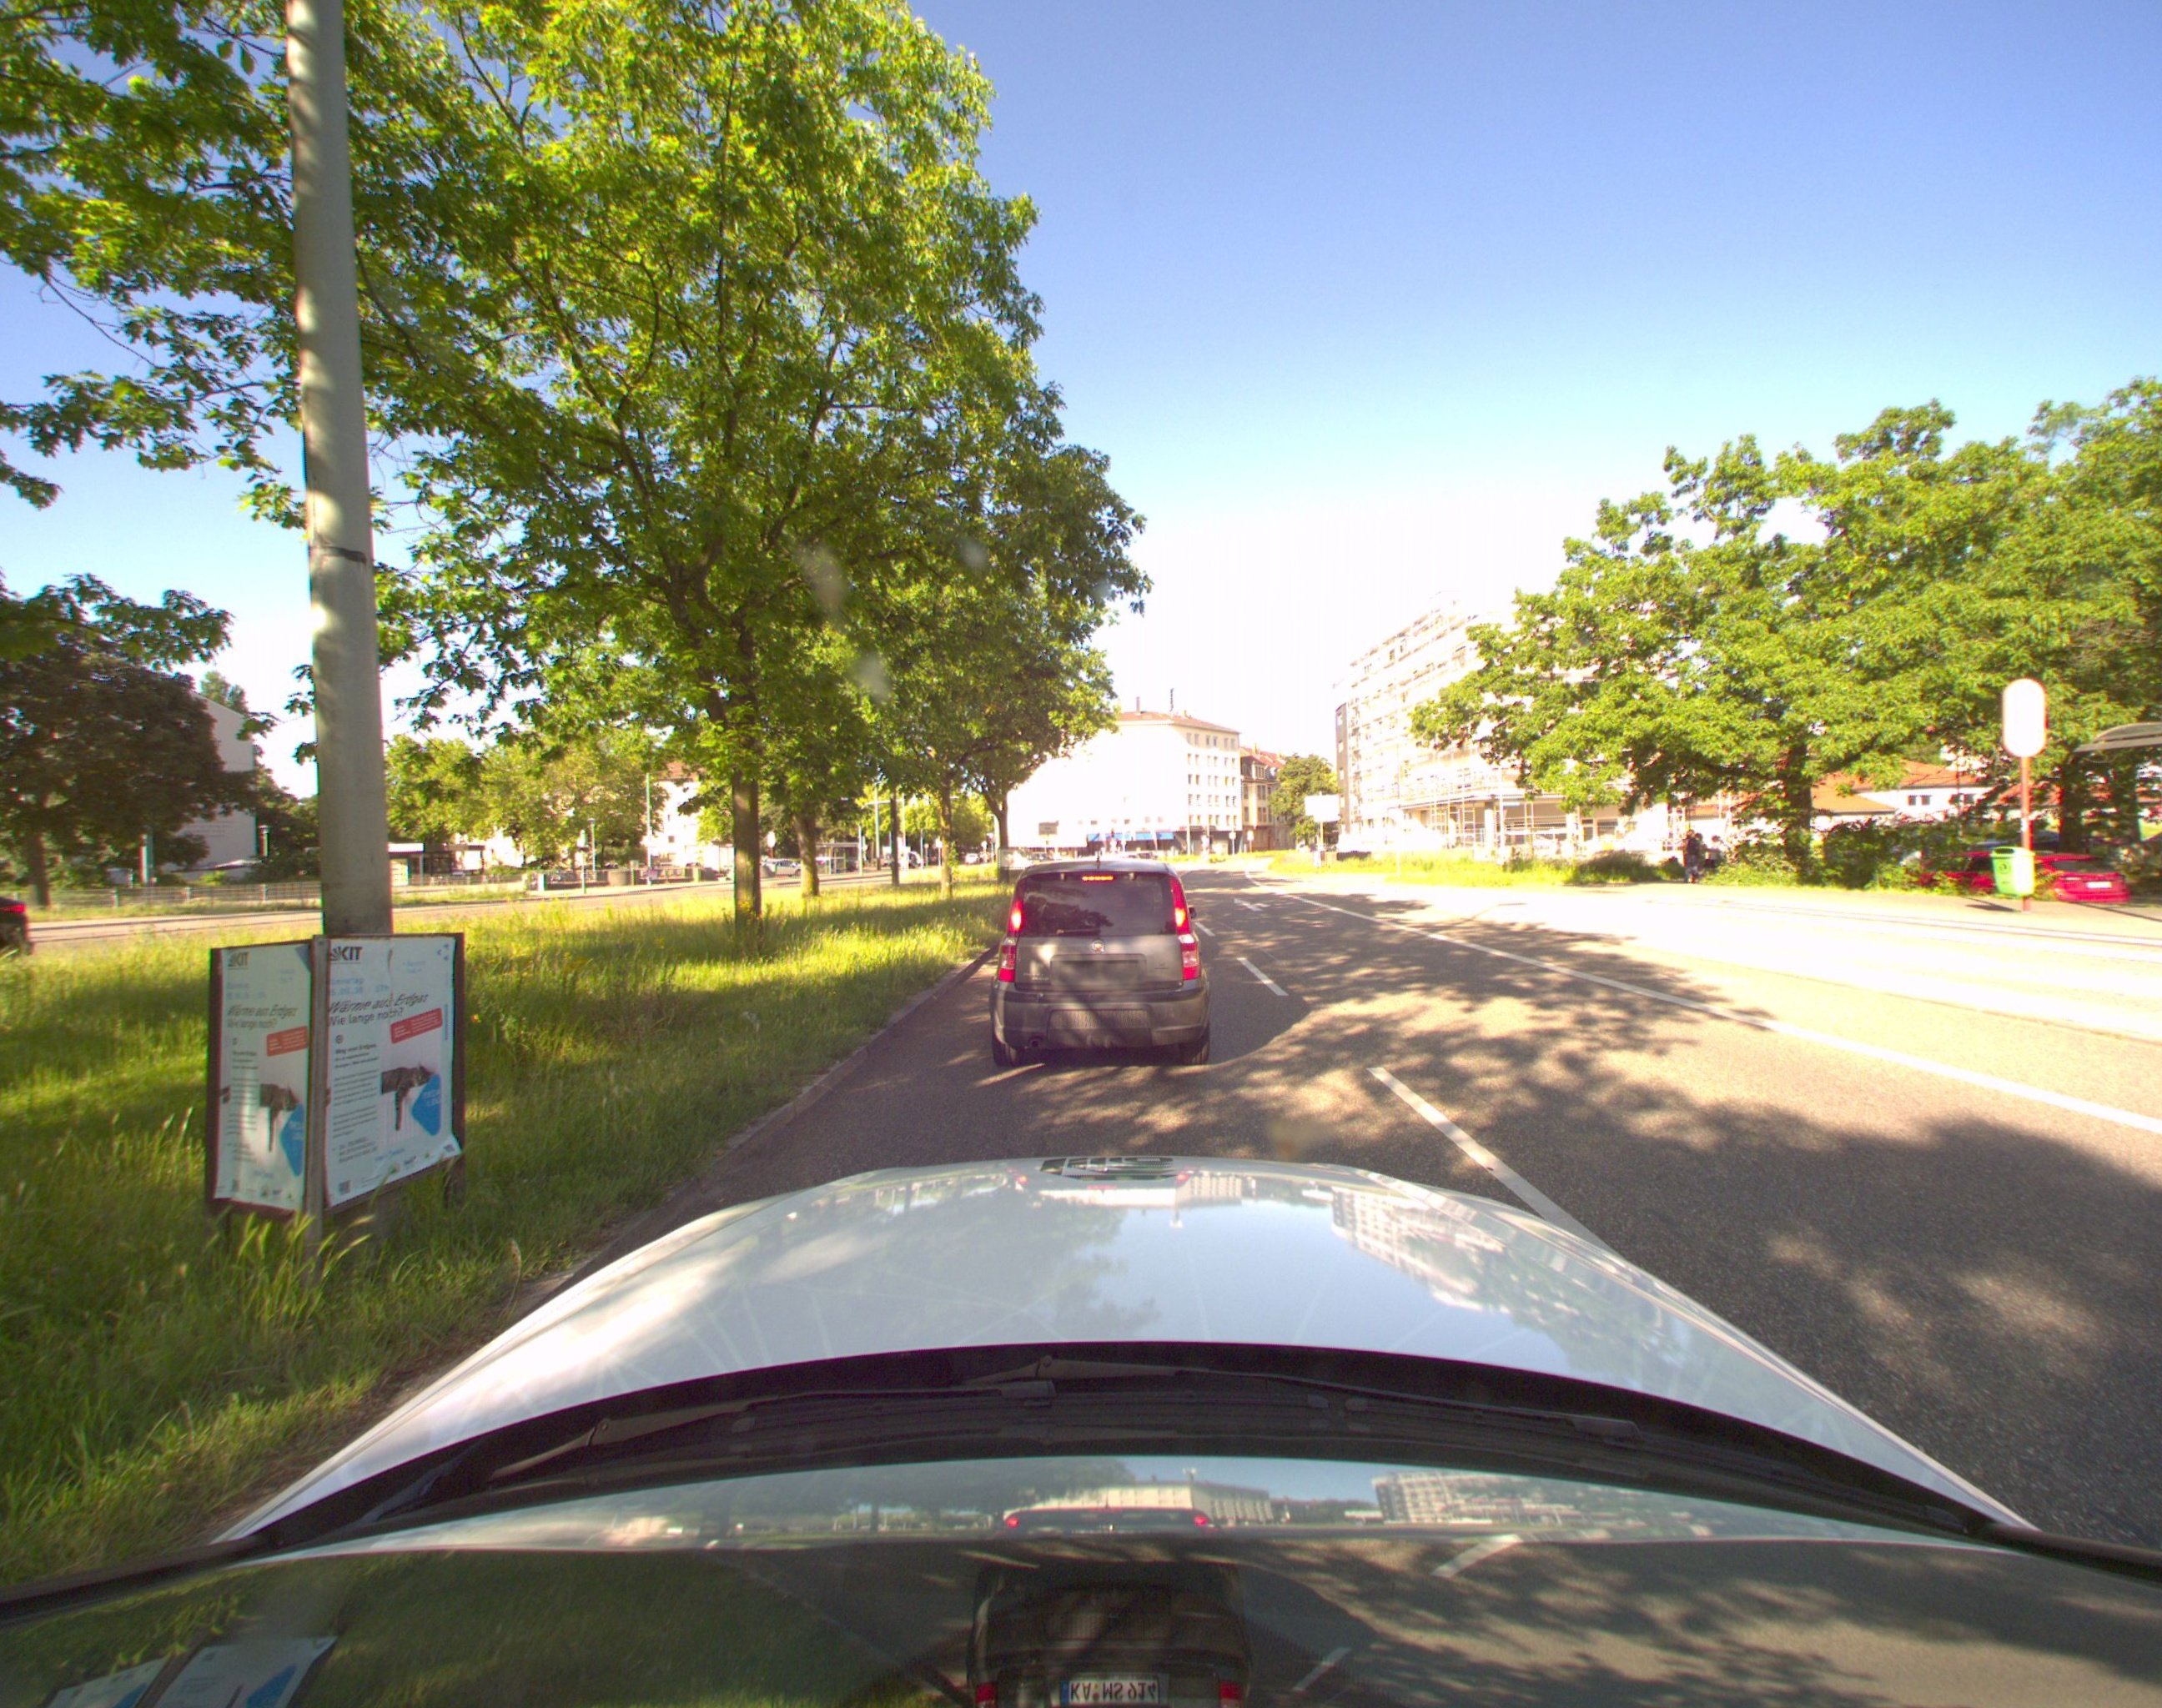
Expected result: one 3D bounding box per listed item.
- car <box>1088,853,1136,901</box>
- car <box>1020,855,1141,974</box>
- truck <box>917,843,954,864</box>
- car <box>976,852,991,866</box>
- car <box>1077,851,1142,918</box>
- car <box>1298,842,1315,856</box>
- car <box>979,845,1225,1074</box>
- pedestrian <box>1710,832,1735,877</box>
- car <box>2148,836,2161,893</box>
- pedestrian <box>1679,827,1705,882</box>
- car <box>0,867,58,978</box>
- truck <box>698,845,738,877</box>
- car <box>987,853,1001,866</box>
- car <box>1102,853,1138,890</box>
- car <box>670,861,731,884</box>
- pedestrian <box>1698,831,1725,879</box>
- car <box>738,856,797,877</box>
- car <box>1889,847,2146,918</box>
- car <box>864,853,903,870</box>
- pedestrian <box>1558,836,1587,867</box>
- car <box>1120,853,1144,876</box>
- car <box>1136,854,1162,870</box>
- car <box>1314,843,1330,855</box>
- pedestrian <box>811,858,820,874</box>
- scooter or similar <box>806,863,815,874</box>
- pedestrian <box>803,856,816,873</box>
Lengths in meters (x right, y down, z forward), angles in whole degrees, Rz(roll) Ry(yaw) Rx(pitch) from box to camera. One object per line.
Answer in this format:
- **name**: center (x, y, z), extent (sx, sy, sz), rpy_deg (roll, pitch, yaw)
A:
- **car**: center (1.027, 0.730, 27.365), extent (1.458, 1.424, 3.383), rpy_deg (-2, 1, 2)
- **car**: center (0.049, 0.750, 11.762), extent (1.458, 1.401, 3.395), rpy_deg (-2, 0, 2)
- **truck**: center (-23.014, -0.140, 128.569), extent (5.425, 3.168, 2.358), rpy_deg (-2, 0, 30)
- **car**: center (-14.848, 0.711, 124.158), extent (1.988, 2.013, 3.997), rpy_deg (-2, 0, -2)
- **car**: center (0.725, 0.700, 20.793), extent (1.458, 1.508, 3.506), rpy_deg (-2, 0, 2)
- **car**: center (24.910, -0.539, 89.997), extent (1.669, 1.449, 3.588), rpy_deg (-2, 0, 18)
- **car**: center (0.205, 0.706, 7.534), extent (1.622, 1.508, 4.002), rpy_deg (-2, 0, 2)
- **pedestrian**: center (20.897, 0.015, 26.548), extent (0.516, 1.447, 0.595), rpy_deg (-2, 0, 28)
- **car**: center (29.861, 0.241, 20.179), extent (1.911, 1.486, 3.725), rpy_deg (-2, 0, -17)
- **pedestrian**: center (18.530, 0.014, 24.706), extent (0.516, 1.612, 0.595), rpy_deg (-2, 0, 28)
- **car**: center (-17.287, 1.081, 10.723), extent (1.818, 1.647, 4.464), rpy_deg (-2, 0, 3)
- **truck**: center (-33.079, 0.636, 74.200), extent (2.012, 2.805, 3.951), rpy_deg (-2, 0, -44)
- **car**: center (-14.268, 0.895, 133.868), extent (1.988, 2.013, 3.997), rpy_deg (-2, 0, -2)
- **car**: center (1.600, 0.694, 33.966), extent (1.351, 1.449, 3.267), rpy_deg (-2, 0, 2)
- **car**: center (-31.198, 1.507, 66.828), extent (1.974, 1.684, 4.025), rpy_deg (-2, 0, 40)
- **pedestrian**: center (19.197, 0.029, 24.800), extent (0.516, 1.447, 0.595), rpy_deg (-2, 0, 28)
- **car**: center (-27.322, 1.073, 71.065), extent (1.974, 1.684, 4.348), rpy_deg (-2, 0, 40)
- **car**: center (21.986, 0.599, 19.375), extent (1.747, 1.486, 3.743), rpy_deg (-2, 0, -2)
- **car**: center (-23.950, 0.894, 99.027), extent (4.164, 2.013, 1.931), rpy_deg (-2, 0, -1)
- **pedestrian**: center (26.958, -0.118, 44.677), extent (0.893, 1.653, 0.978), rpy_deg (-2, 0, -28)
- **car**: center (3.093, 0.622, 49.677), extent (1.351, 1.281, 2.877), rpy_deg (-2, 0, 2)
- **car**: center (4.863, 0.576, 57.715), extent (1.133, 1.064, 2.735), rpy_deg (-2, 0, 19)
- **car**: center (27.622, -0.590, 93.427), extent (1.514, 1.314, 3.304), rpy_deg (-2, 0, 20)
- **pedestrian**: center (-23.658, 1.090, 72.571), extent (0.411, 1.391, 0.630), rpy_deg (-2, 0, 28)
- **scooter or similar**: center (-23.939, 1.311, 72.050), extent (0.416, 0.927, 0.537), rpy_deg (-2, 0, 28)
- **pedestrian**: center (-26.163, 1.029, 78.563), extent (0.910, 1.607, 0.802), rpy_deg (-2, 0, 41)
